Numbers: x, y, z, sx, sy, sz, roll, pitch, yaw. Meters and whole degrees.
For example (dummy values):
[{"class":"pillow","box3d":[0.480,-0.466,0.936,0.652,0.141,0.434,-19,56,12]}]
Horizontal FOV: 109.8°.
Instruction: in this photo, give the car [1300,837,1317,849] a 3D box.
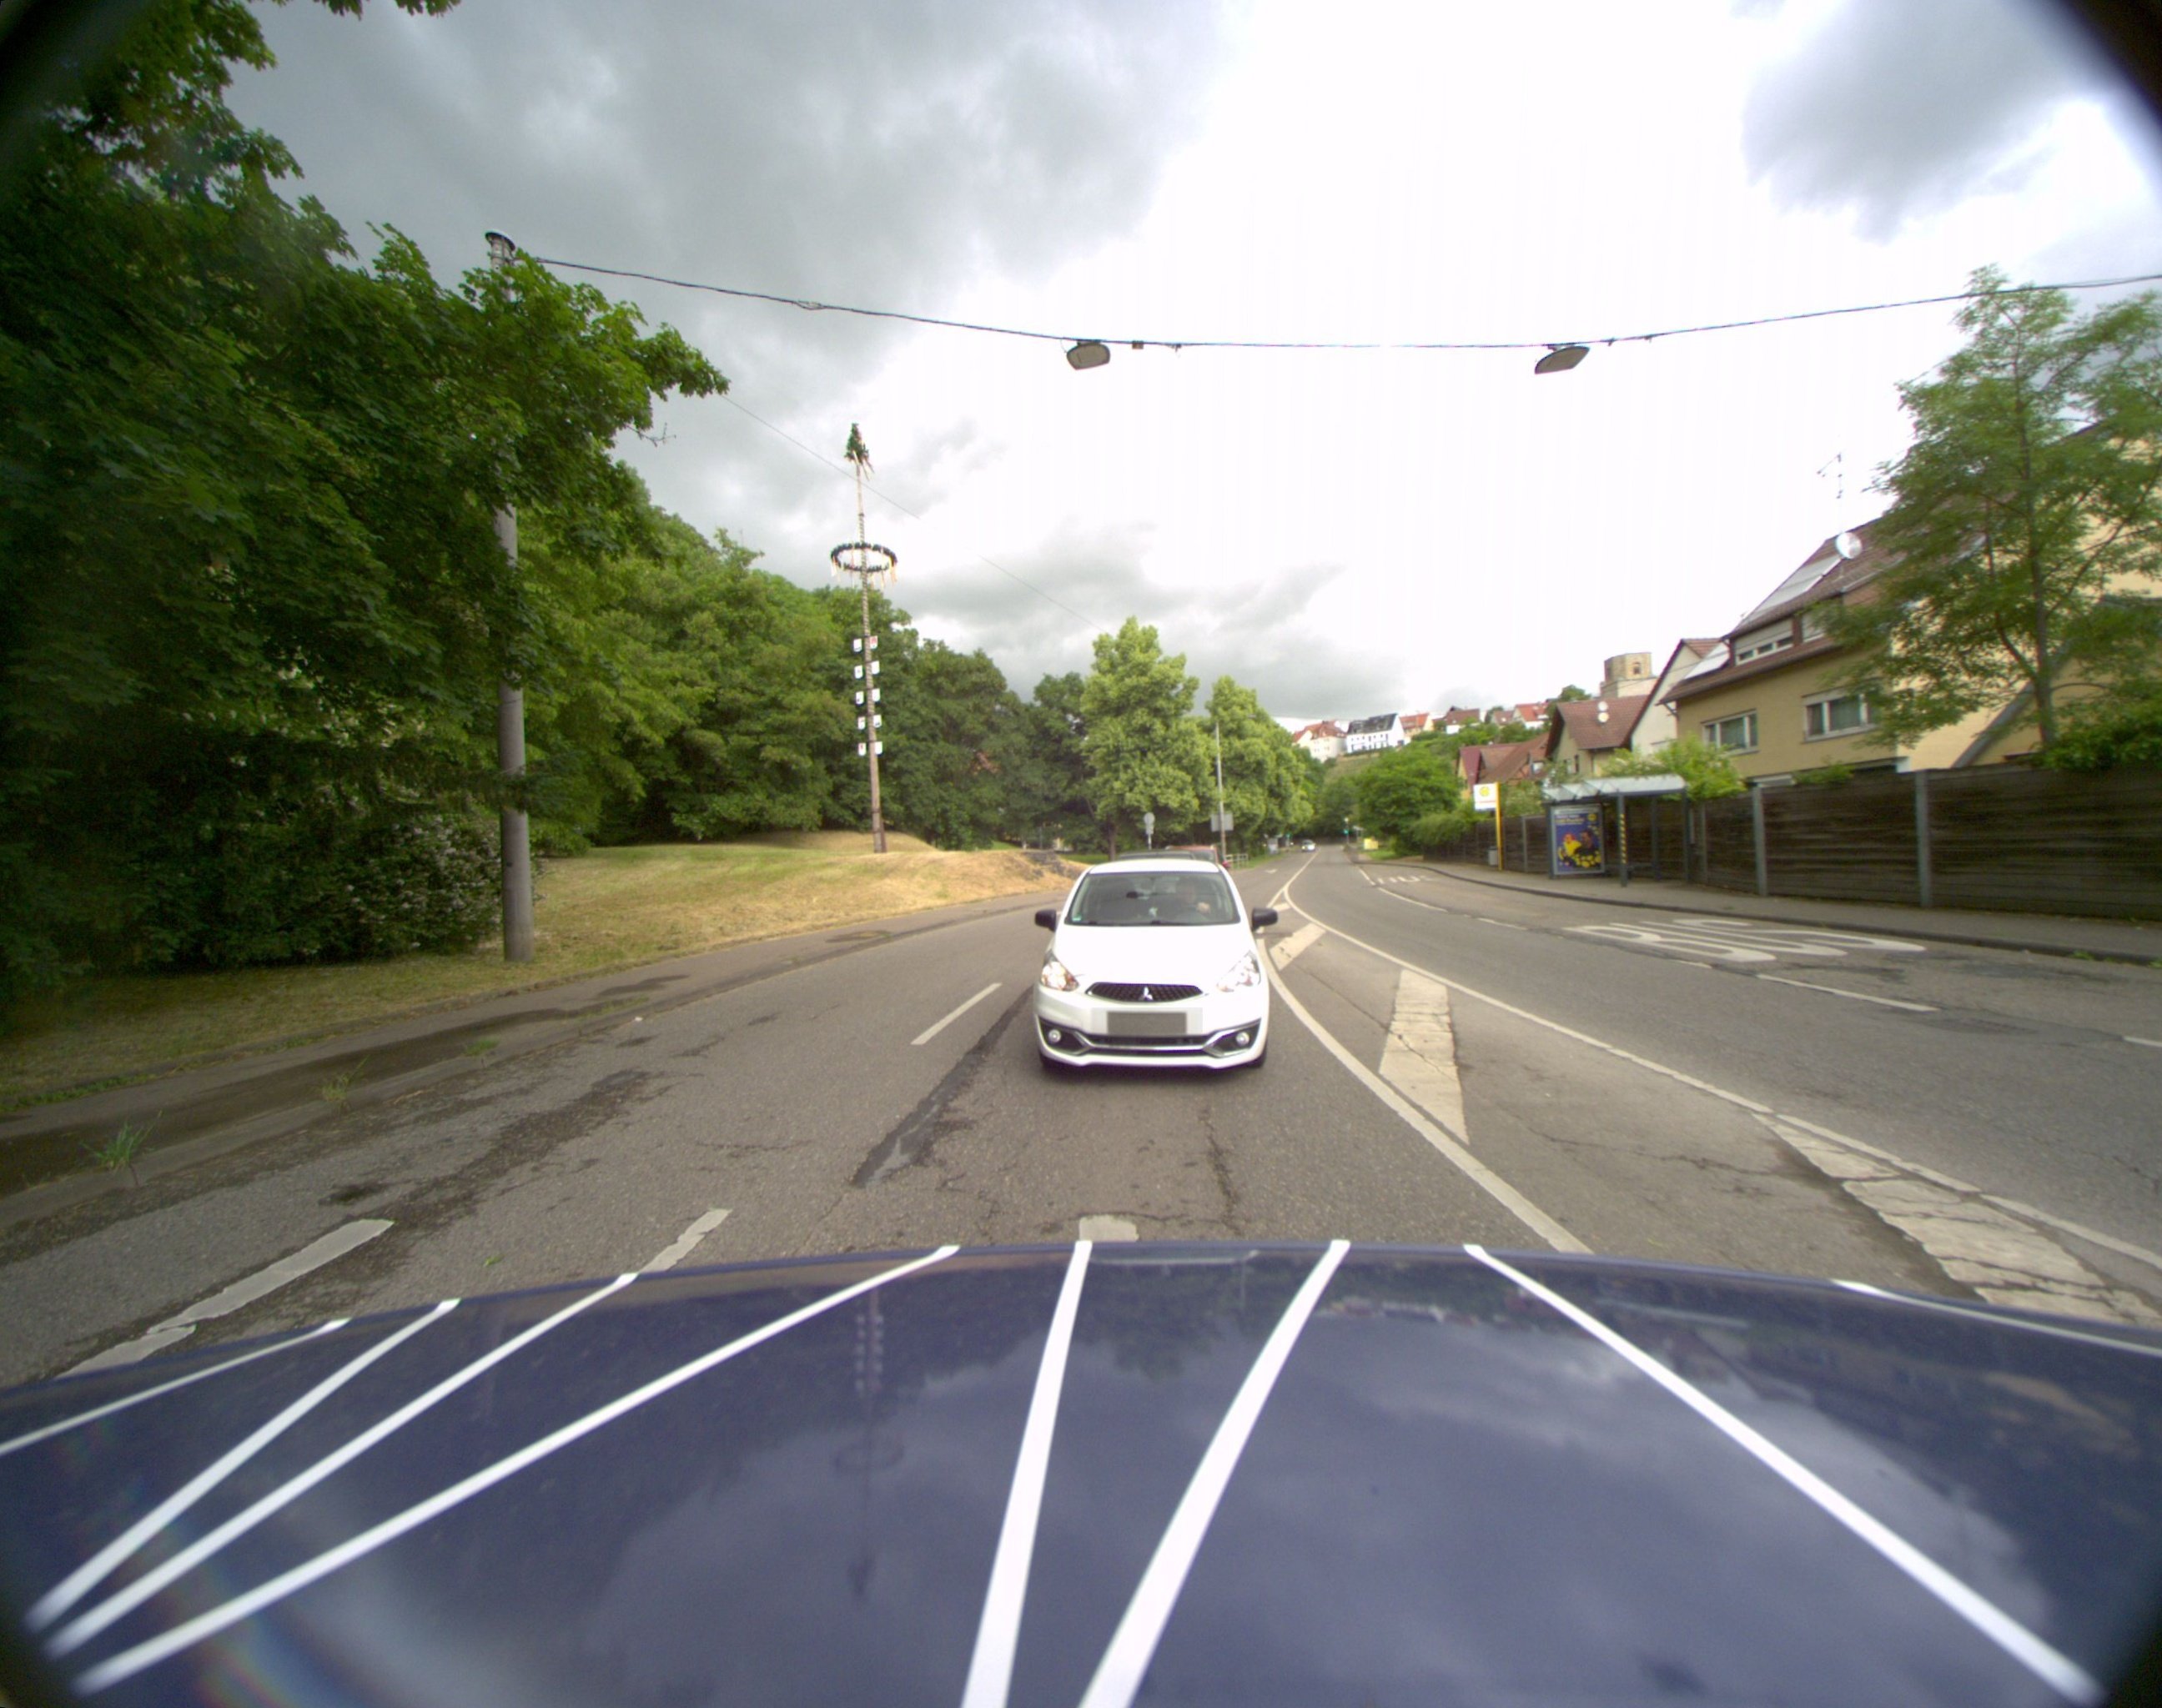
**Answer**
[{"class":"car","box3d":[33.774,-1.695,112.845,1.843,1.630,4.006,-2,1,24]}]

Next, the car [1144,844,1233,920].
[{"class":"car","box3d":[2.855,0.625,19.465,1.826,1.662,4.061,-2,1,13]}]

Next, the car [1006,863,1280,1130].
[{"class":"car","box3d":[0.637,0.904,6.436,1.617,1.505,3.607,-2,1,9]}]

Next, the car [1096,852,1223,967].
[{"class":"car","box3d":[1.391,0.788,12.593,1.723,1.539,3.784,-2,1,9]}]
